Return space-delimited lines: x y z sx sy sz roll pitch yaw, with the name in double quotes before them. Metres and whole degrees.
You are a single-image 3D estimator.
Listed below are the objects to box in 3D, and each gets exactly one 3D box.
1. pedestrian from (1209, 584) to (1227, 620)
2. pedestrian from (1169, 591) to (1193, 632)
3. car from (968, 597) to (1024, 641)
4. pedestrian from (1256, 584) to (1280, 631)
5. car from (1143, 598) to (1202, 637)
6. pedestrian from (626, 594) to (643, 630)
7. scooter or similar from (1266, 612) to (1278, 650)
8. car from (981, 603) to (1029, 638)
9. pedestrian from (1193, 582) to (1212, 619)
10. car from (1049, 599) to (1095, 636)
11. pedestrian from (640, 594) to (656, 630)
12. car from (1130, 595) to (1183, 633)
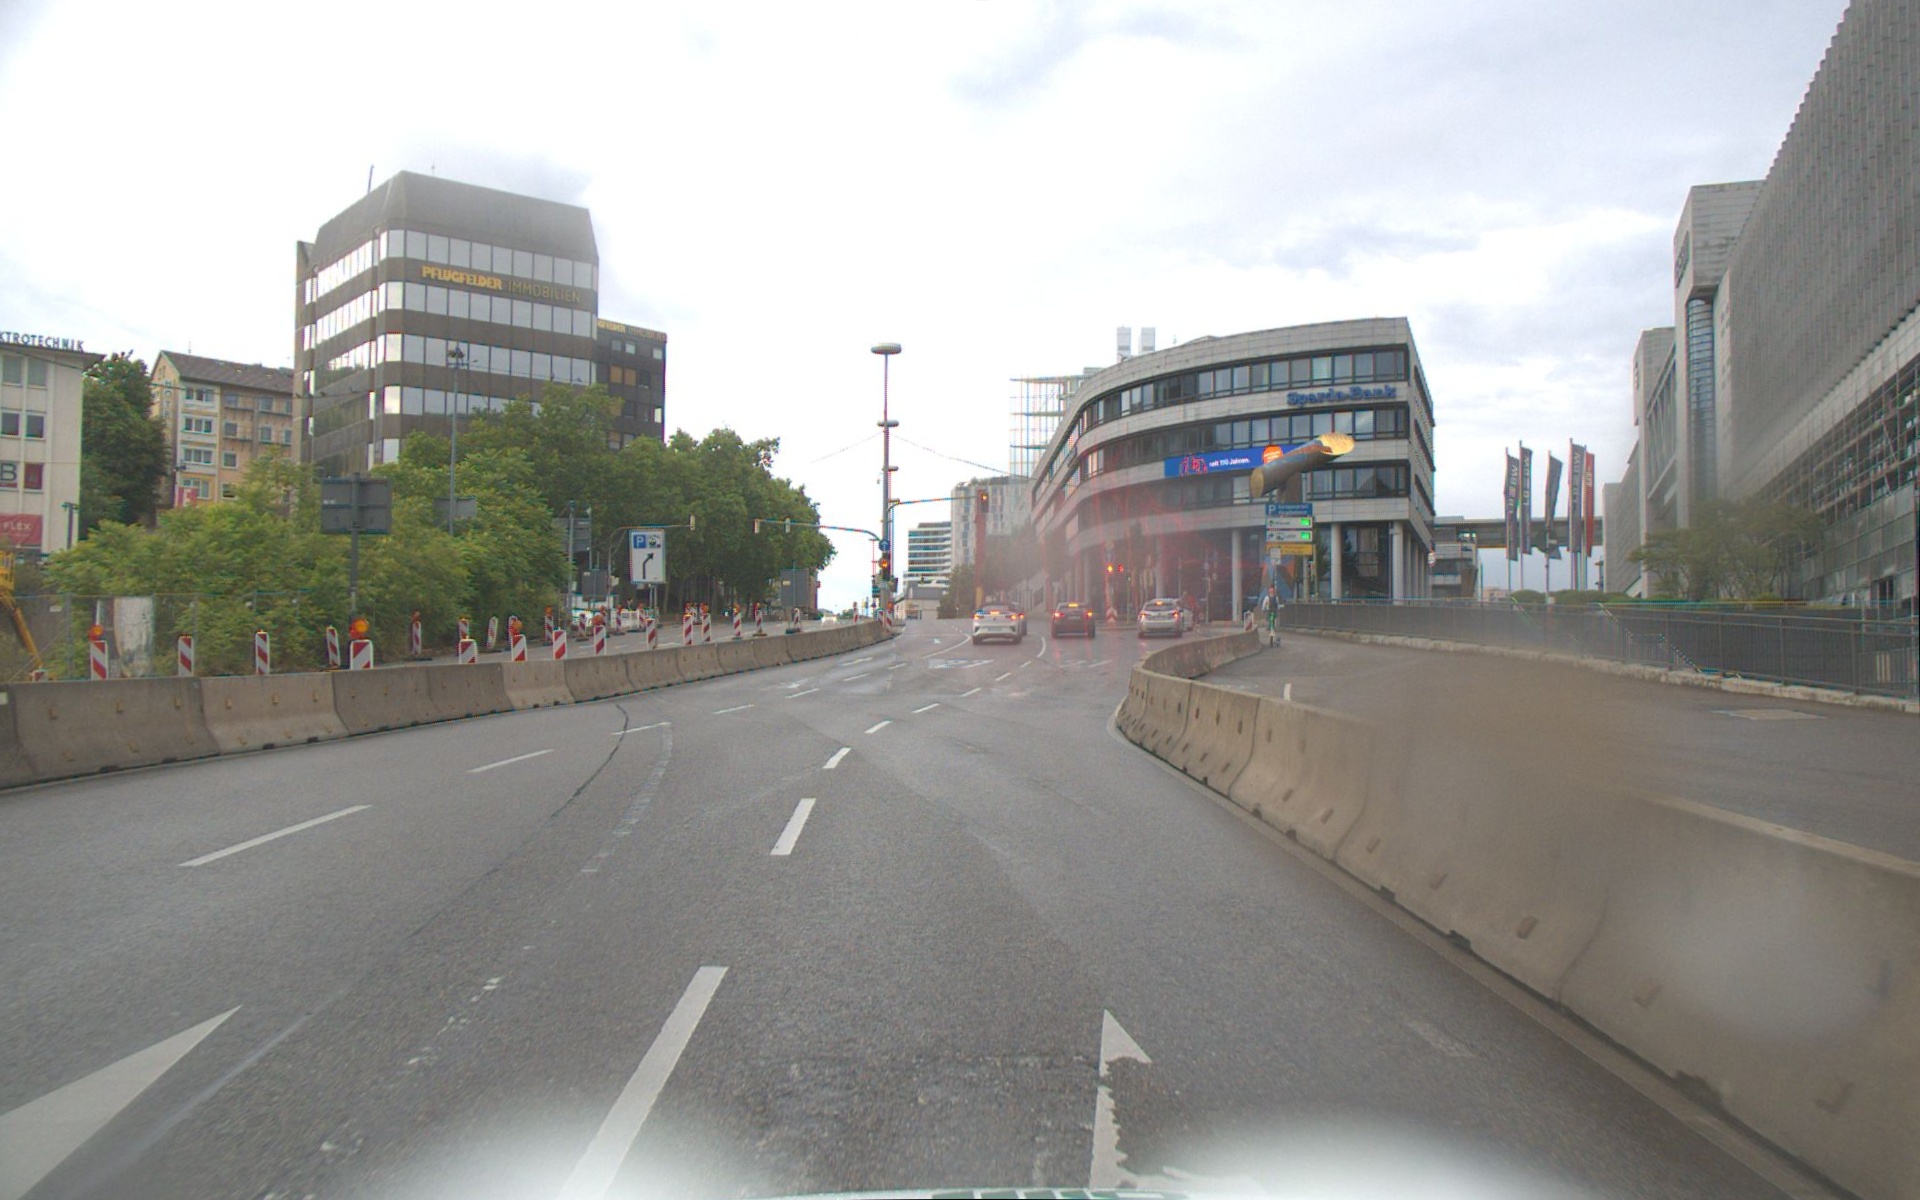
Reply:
"pedestrian" 14.155 0.104 90.802 0.824 1.938 0.731 -1 -1 25
"pedestrian" 11.507 0.589 86.132 0.841 2.135 0.897 2 -1 -24
"car" 1.395 0.693 62.495 1.922 1.576 4.220 0 0 3
"pedestrian" 11.552 0.296 62.079 0.715 1.741 0.843 0 -2 -2
"car" 9.481 0.745 73.663 1.734 1.663 4.582 0 0 19
"pedestrian" -17.787 0.648 90.363 0.745 1.956 0.742 0 -2 1
"scooter or similar" 9.620 0.953 50.968 0.341 1.183 0.573 0 -1 14
"car" 1.927 0.865 71.163 1.705 1.468 3.997 0 0 -4
"pedestrian" 13.117 0.040 89.486 0.824 1.938 0.860 -1 -3 25
"car" 4.574 0.748 68.151 1.718 1.432 4.228 1 -1 2
"pedestrian" -17.043 0.659 90.351 0.658 1.935 0.775 0 -2 1
"car" 7.897 0.571 66.751 1.665 1.476 4.616 0 -1 1
